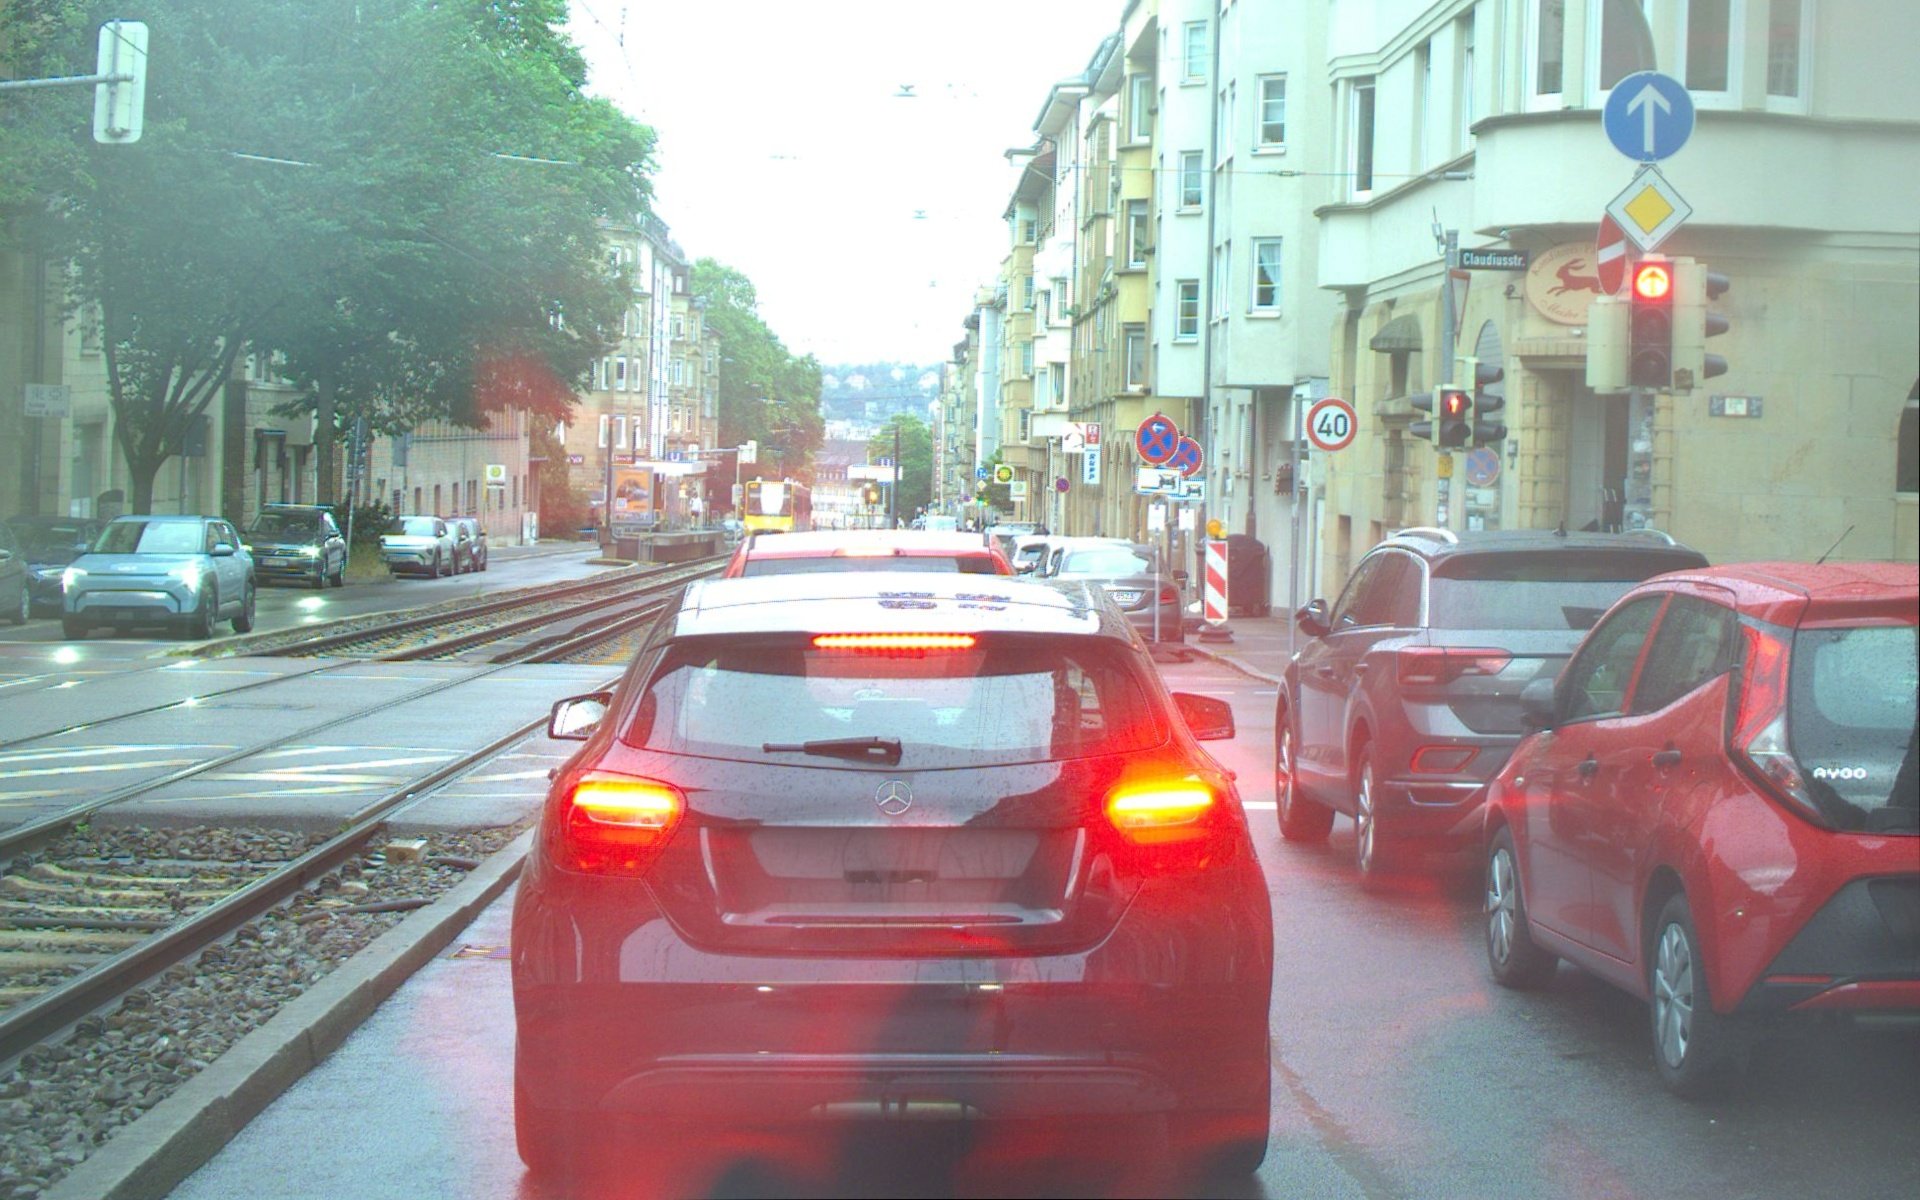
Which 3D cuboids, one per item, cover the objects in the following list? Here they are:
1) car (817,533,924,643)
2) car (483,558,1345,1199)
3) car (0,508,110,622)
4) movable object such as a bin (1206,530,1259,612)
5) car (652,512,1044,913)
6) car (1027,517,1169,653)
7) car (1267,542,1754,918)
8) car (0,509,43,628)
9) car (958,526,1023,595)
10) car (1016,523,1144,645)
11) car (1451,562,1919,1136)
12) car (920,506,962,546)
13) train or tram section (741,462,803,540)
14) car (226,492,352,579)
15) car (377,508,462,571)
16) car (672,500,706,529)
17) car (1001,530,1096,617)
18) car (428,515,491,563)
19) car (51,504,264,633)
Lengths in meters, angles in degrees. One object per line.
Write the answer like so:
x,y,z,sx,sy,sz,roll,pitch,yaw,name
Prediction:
-1.371,-0.218,53.838,1.544,1.630,3.686,1,1,0,car
-0.126,0.641,9.453,1.829,1.453,4.104,1,1,-1,car
-13.735,-0.520,50.719,1.716,1.605,3.919,1,0,-5,car
4.713,-0.502,59.568,0.878,1.384,0.982,1,0,3,movable object such as a bin
-0.479,0.439,15.840,1.565,1.604,3.814,1,0,-1,car
1.669,-0.208,42.636,1.544,1.585,3.548,1,1,-1,car
2.386,0.491,15.759,1.544,1.481,3.830,1,1,-1,car
-13.482,-0.431,45.689,1.752,1.547,4.036,1,0,-4,car
0.636,-0.858,73.590,1.294,1.437,2.929,1,1,-1,car
1.613,-0.245,47.111,1.544,1.585,3.548,1,1,-1,car
2.650,0.635,10.521,1.642,1.443,3.299,1,1,-3,car
-0.919,-3.563,166.390,1.993,1.870,4.000,1,0,-1,car
-9.796,-5.106,179.991,2.783,3.847,10.430,1,0,-1,train or tram section
-13.956,-1.327,71.698,1.875,1.731,3.918,1,0,-1,car
-13.993,-1.546,89.161,1.589,1.575,3.918,1,0,-1,car
-12.232,-3.847,155.523,1.377,1.245,3.298,1,0,-2,car
1.555,-0.499,61.521,1.544,1.481,3.548,1,1,-1,car
-14.336,-1.733,98.570,1.448,1.326,3.272,1,0,-2,car
-10.458,-0.414,45.075,1.898,1.582,3.973,1,0,-1,car
